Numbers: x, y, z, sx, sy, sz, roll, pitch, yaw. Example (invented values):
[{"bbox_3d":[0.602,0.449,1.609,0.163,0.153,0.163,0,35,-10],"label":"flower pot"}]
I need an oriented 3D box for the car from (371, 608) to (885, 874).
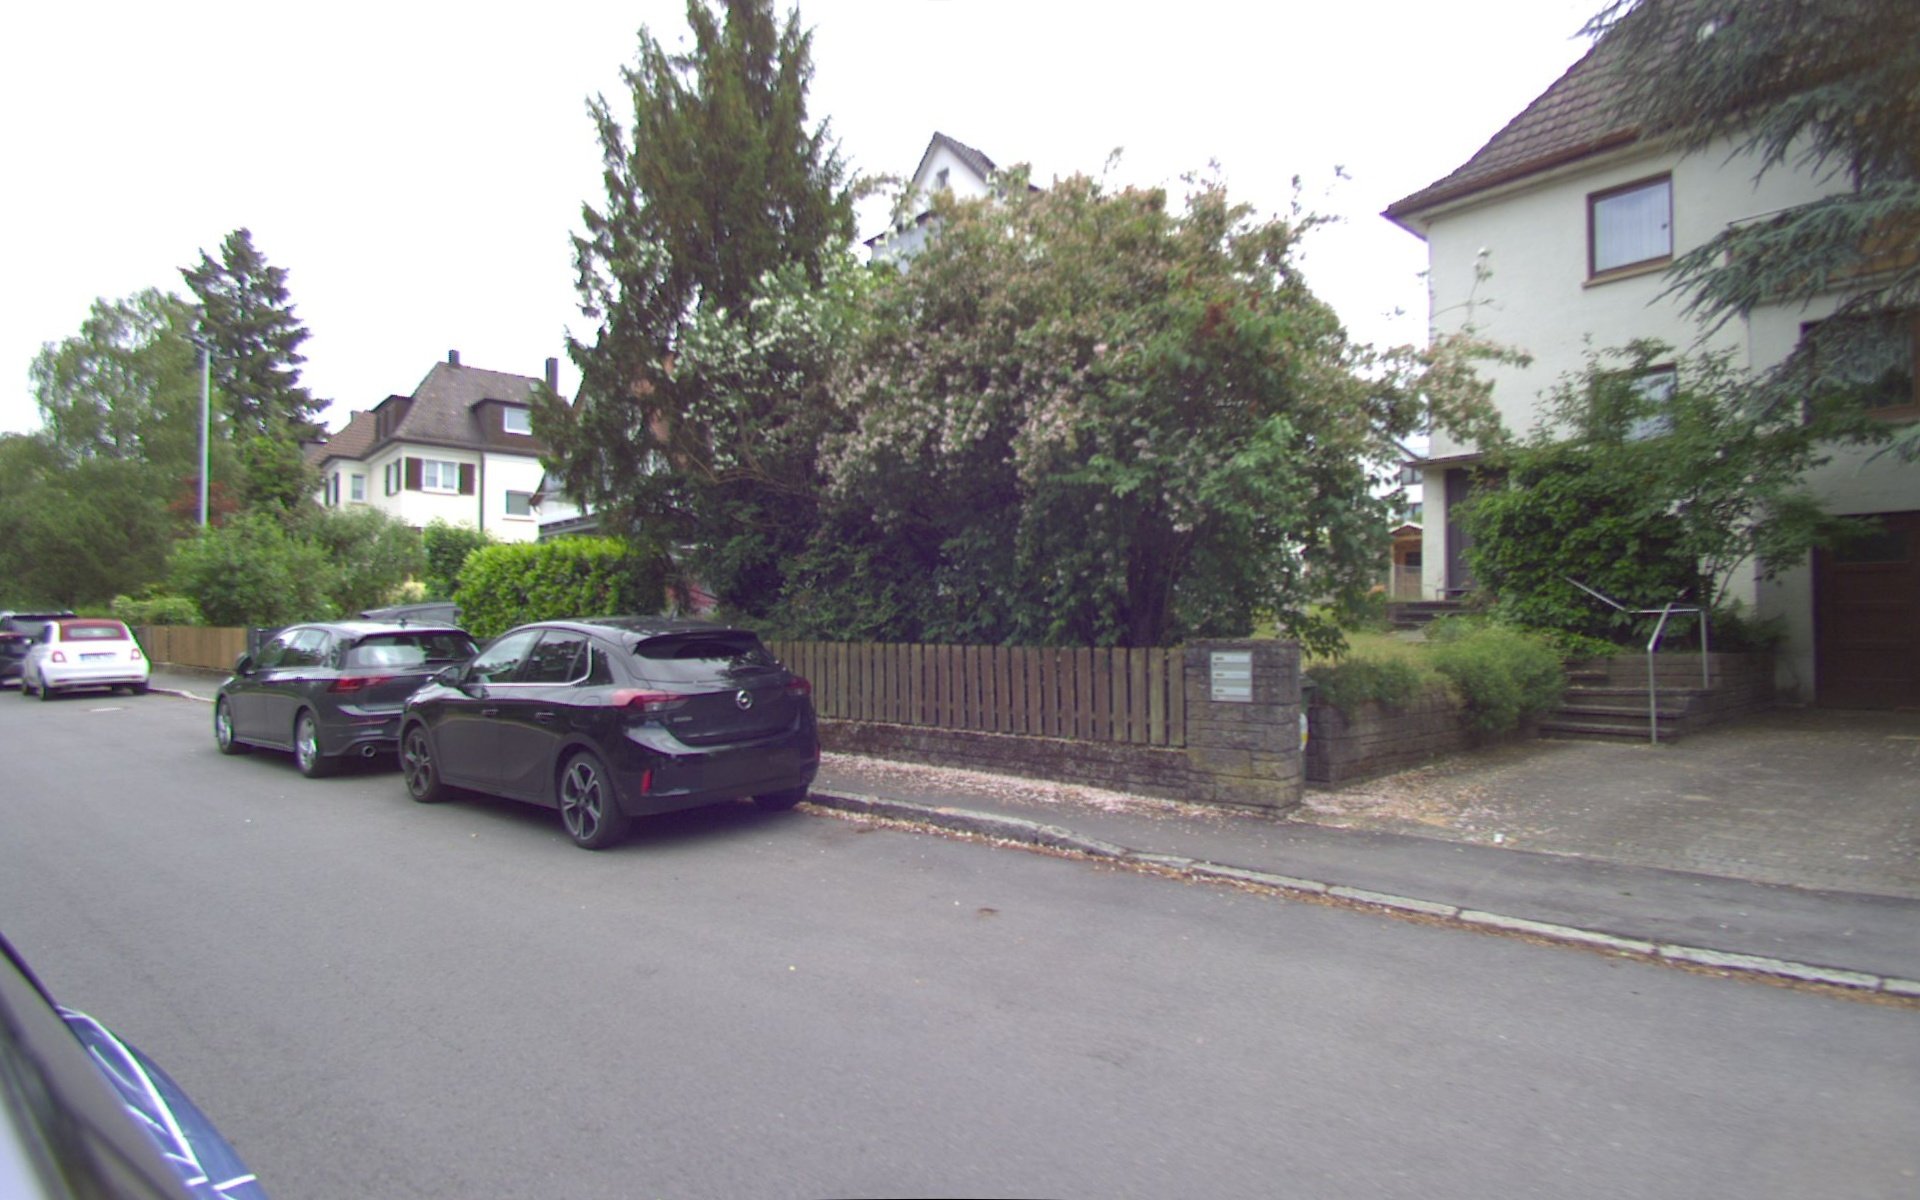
[{"bbox_3d":[-2.633,0.813,7.506,4.128,1.427,1.690,-1,-1,40],"label":"car"}]

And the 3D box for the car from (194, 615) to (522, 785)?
[{"bbox_3d":[-6.452,0.907,10.661,4.146,1.427,1.690,-1,-1,40],"label":"car"}]

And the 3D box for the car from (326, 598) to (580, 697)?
[{"bbox_3d":[-9.361,0.803,18.776,3.935,1.559,1.846,-2,0,-36],"label":"car"}]

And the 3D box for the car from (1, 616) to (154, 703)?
[{"bbox_3d":[-17.615,1.115,20.146,3.942,1.523,1.690,-1,-1,40],"label":"car"}]

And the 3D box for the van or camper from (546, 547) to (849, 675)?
[{"bbox_3d":[-6.070,0.138,24.137,6.598,2.671,2.327,-2,1,-41],"label":"van or camper"}]

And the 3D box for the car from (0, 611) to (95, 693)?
[{"bbox_3d":[-21.082,1.128,22.848,4.390,1.677,1.773,-1,-1,42],"label":"car"}]
